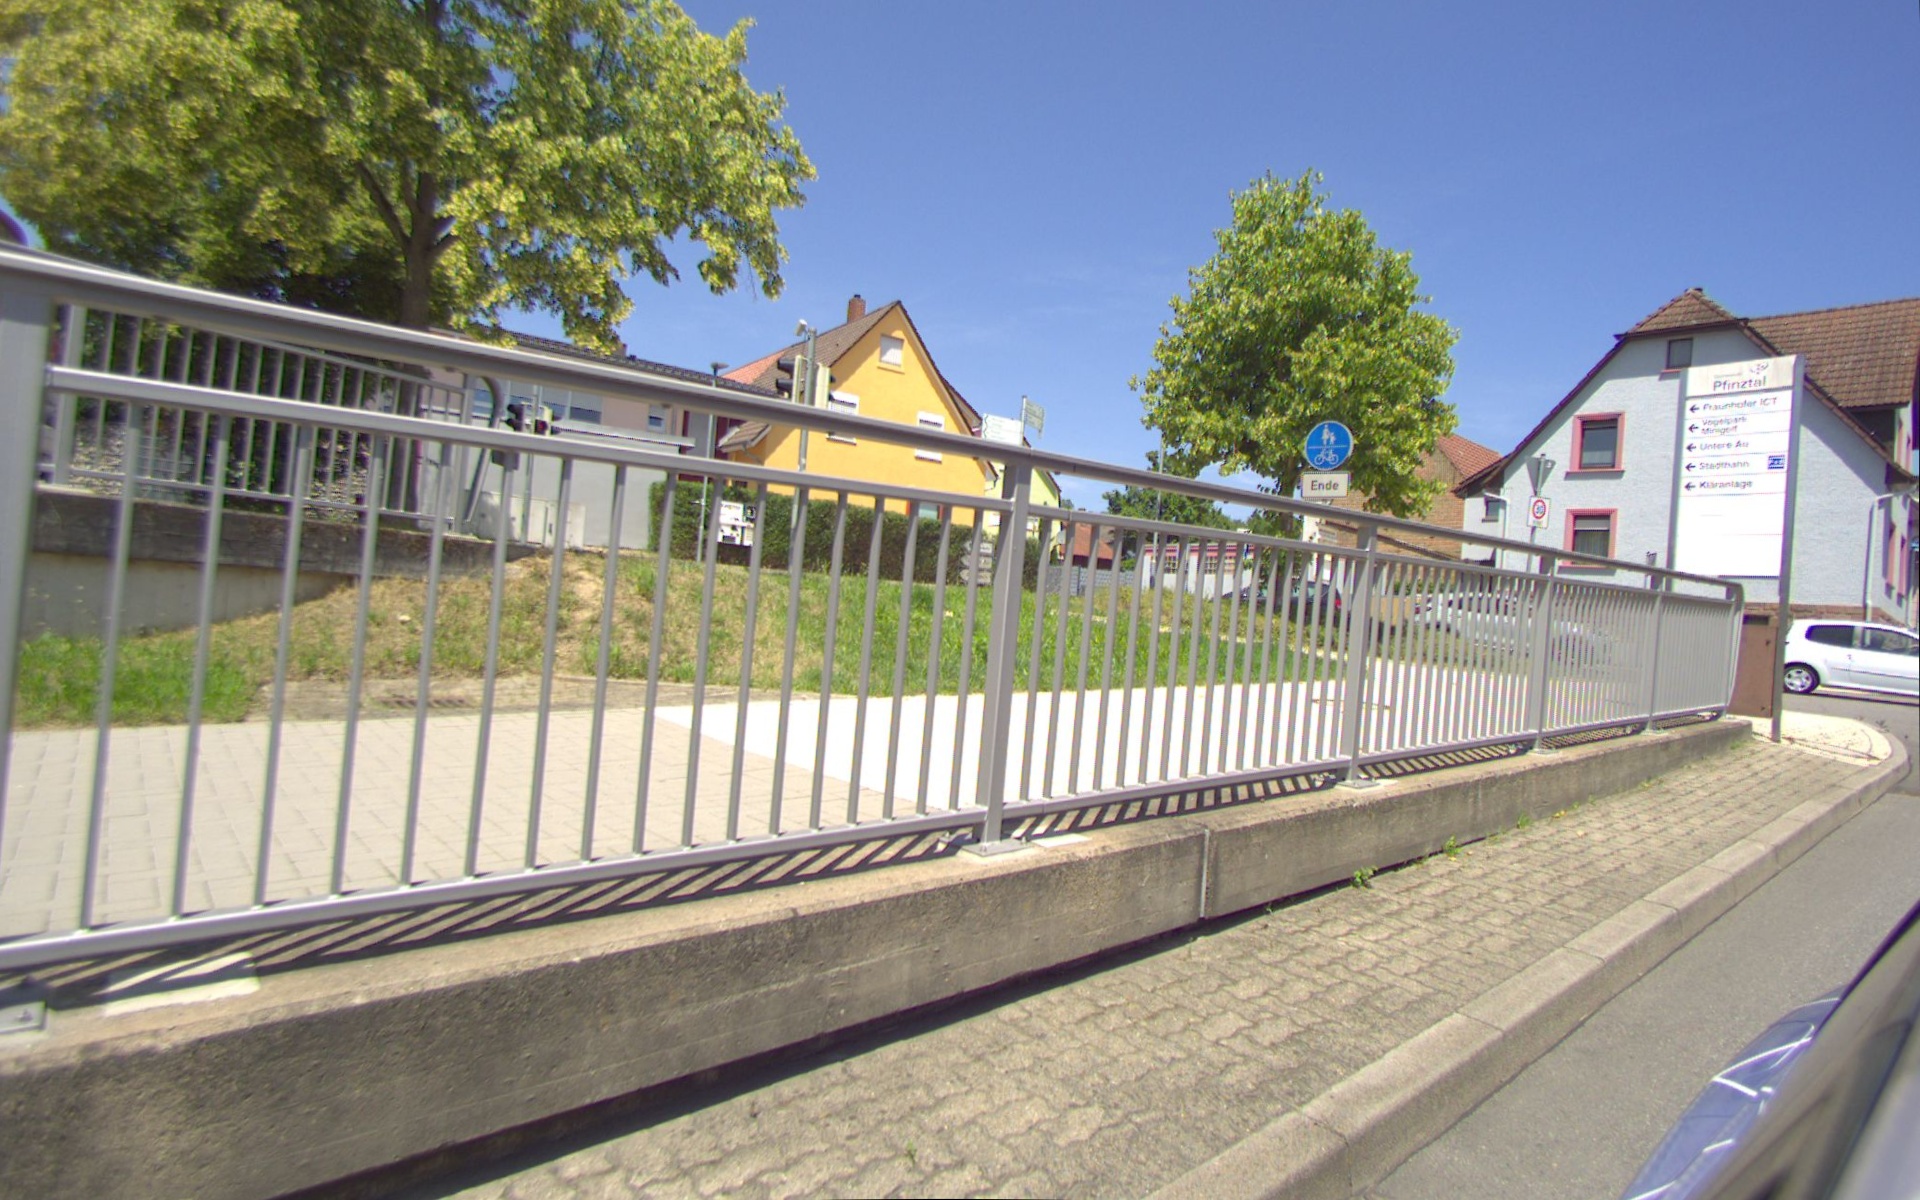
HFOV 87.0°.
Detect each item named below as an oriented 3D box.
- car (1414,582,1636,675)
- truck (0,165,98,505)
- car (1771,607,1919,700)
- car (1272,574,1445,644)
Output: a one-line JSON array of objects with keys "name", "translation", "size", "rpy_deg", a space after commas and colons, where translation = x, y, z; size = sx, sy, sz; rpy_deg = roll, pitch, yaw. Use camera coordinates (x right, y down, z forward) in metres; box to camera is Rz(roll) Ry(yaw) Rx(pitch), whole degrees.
[{"name": "car", "translation": [12.544, 0.590, 22.674], "size": [4.095, 1.554, 1.756], "rpy_deg": [7, 2, 31]}, {"name": "truck", "translation": [-9.321, -2.173, 6.847], "size": [5.167, 2.364, 2.136], "rpy_deg": [5, -1, -41]}, {"name": "car", "translation": [17.404, 1.037, 18.646], "size": [3.671, 1.497, 1.748], "rpy_deg": [5, 2, 44]}, {"name": "car", "translation": [11.204, 0.268, 28.574], "size": [4.072, 1.609, 1.871], "rpy_deg": [4, -2, -8]}]
